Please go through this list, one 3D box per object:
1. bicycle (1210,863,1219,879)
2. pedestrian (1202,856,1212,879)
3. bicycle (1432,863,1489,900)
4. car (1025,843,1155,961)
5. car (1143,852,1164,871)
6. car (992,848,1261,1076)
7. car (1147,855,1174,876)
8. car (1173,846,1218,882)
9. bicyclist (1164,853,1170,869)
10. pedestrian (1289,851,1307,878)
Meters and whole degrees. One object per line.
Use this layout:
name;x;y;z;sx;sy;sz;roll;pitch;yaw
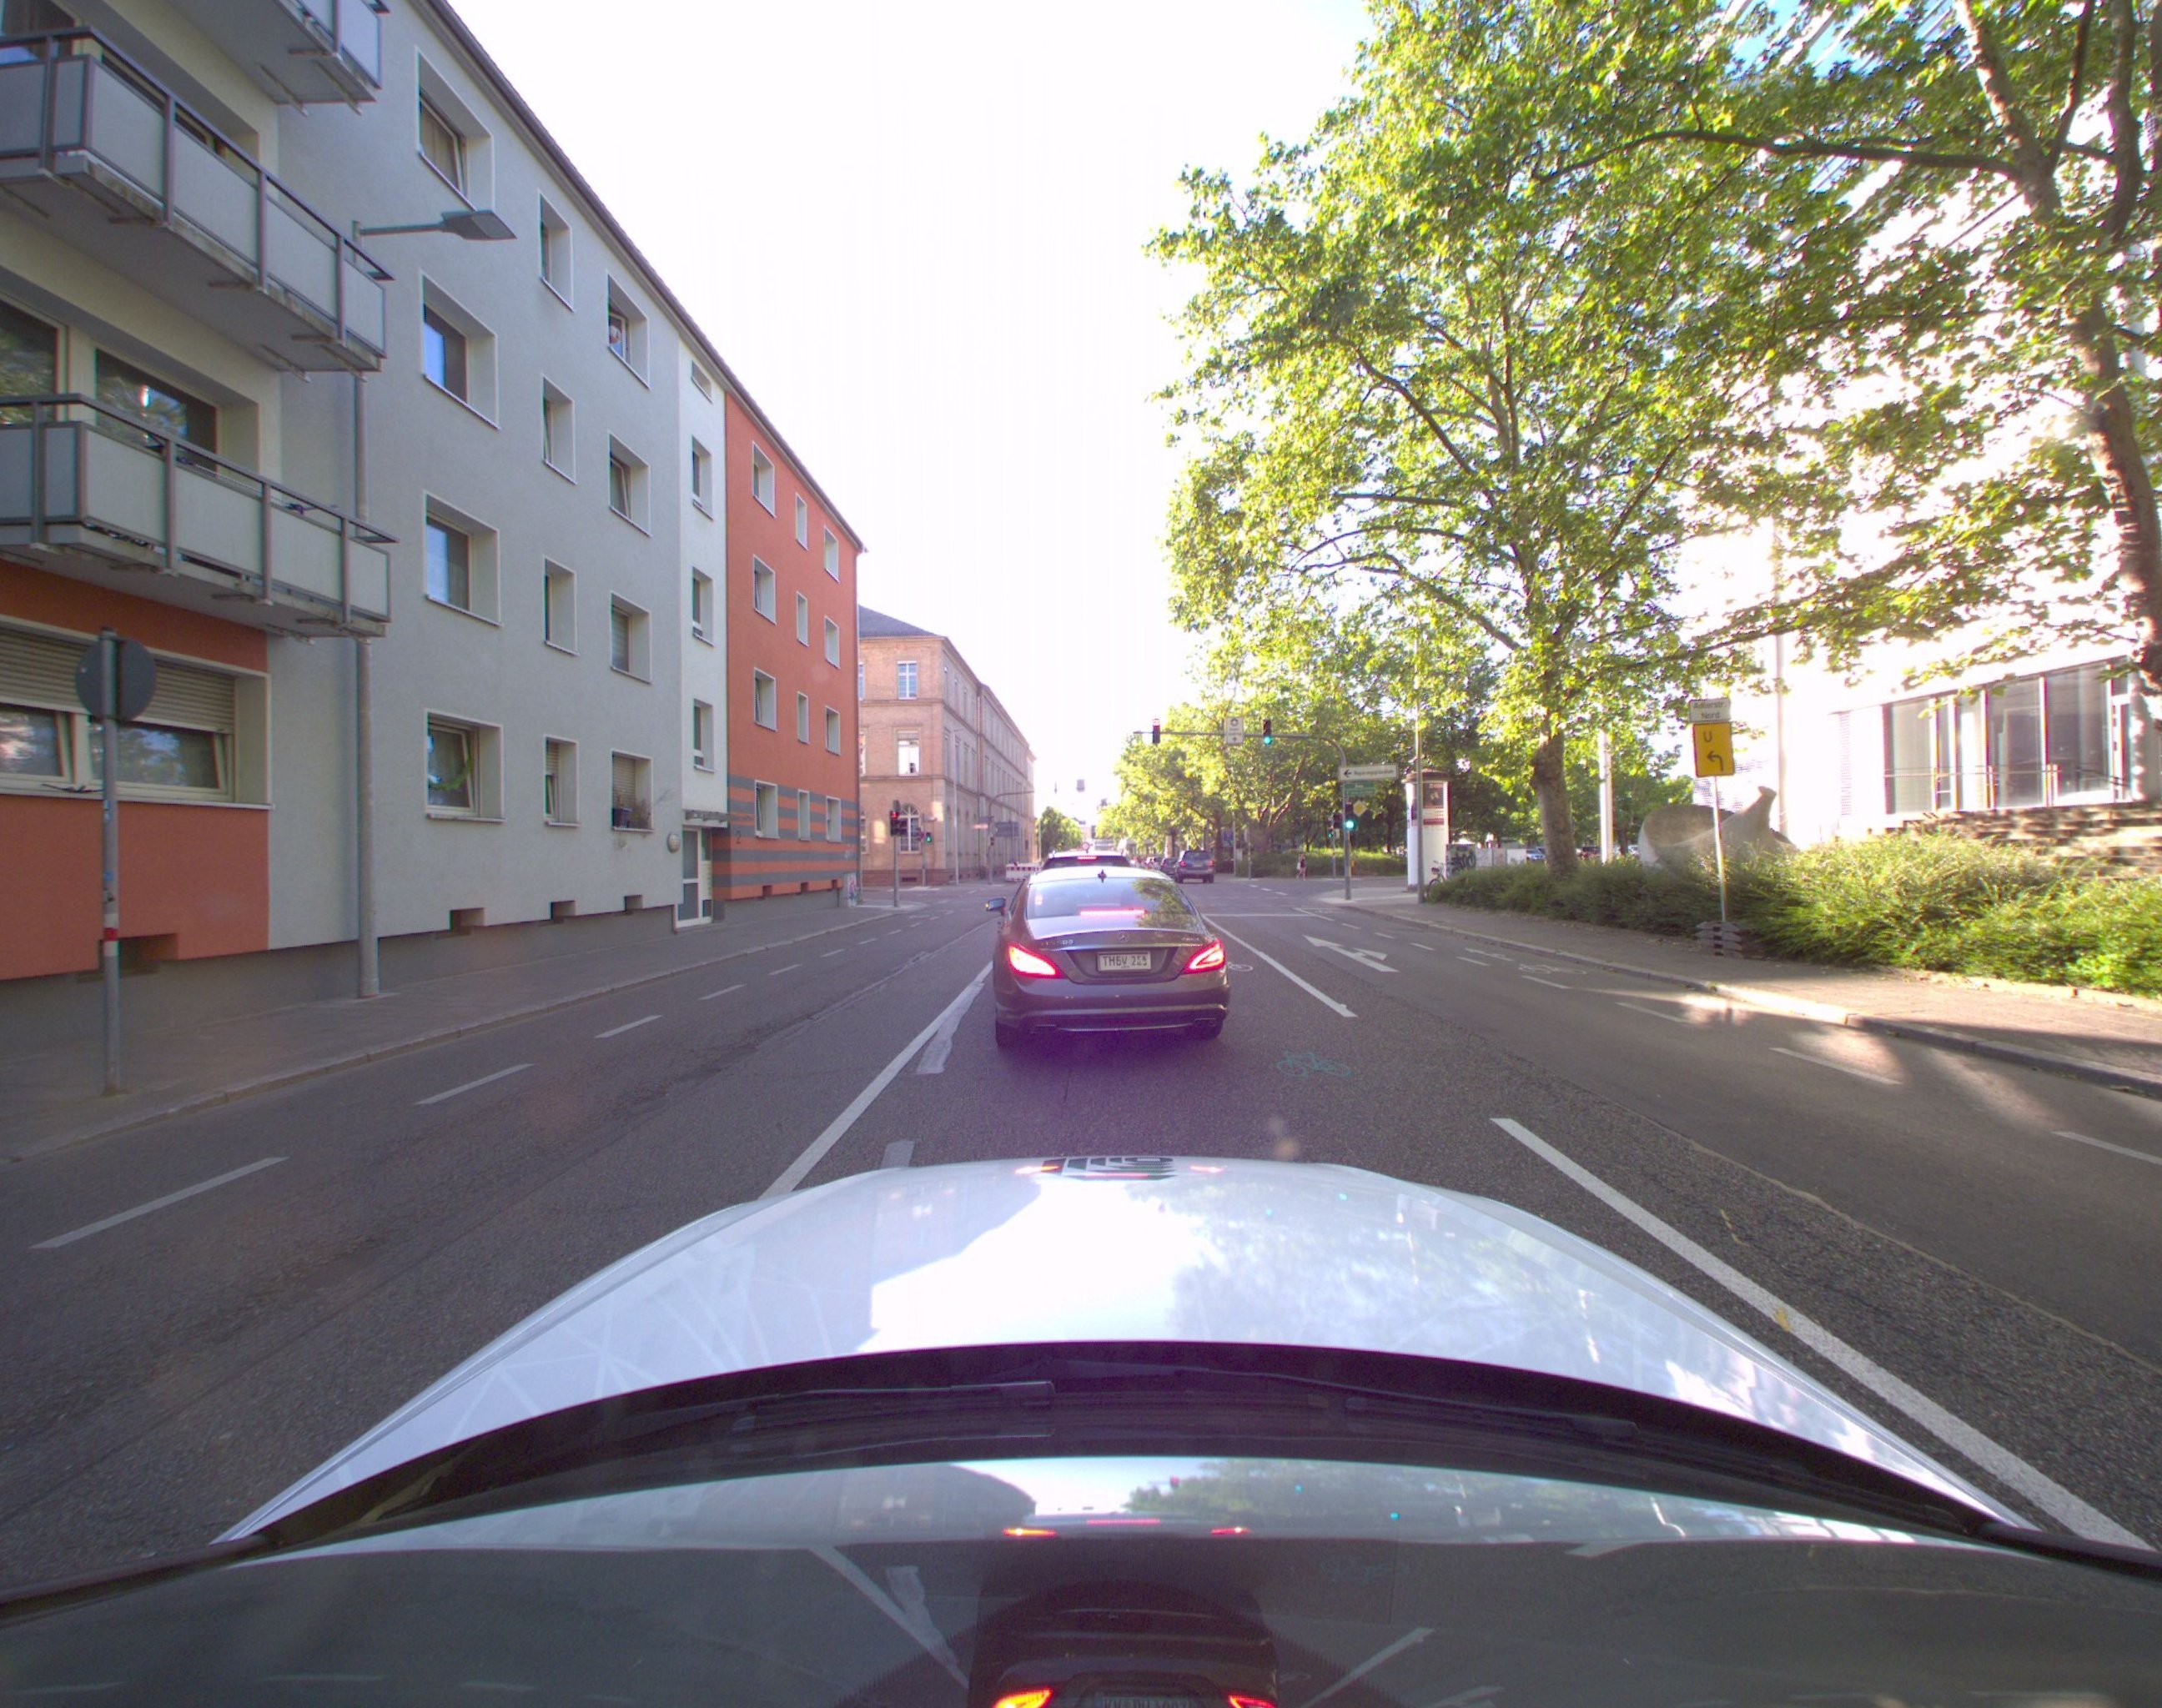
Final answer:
bicycle;10.426;1.321;63.611;0.480;1.202;1.607;0;-1;2
pedestrian;9.890;1.080;63.728;0.634;1.760;0.698;0;-1;-2
bicycle;10.988;0.779;23.572;1.895;1.028;0.635;0;-1;-36
car;0.195;0.696;13.734;1.854;1.682;4.002;-1;0;2
car;6.779;0.686;76.247;1.725;1.662;3.682;0;-1;2
car;0.146;0.737;7.599;1.859;1.519;3.992;-1;0;-6
car;5.913;0.818;60.727;1.698;1.519;4.002;-1;0;2
car;6.007;0.511;43.193;1.854;1.764;4.483;-1;0;2
bicyclist;11.099;0.956;105.041;0.593;2.039;0.566;0;-1;-2
pedestrian;12.455;0.603;46.785;0.636;1.545;0.906;0;-1;-12
